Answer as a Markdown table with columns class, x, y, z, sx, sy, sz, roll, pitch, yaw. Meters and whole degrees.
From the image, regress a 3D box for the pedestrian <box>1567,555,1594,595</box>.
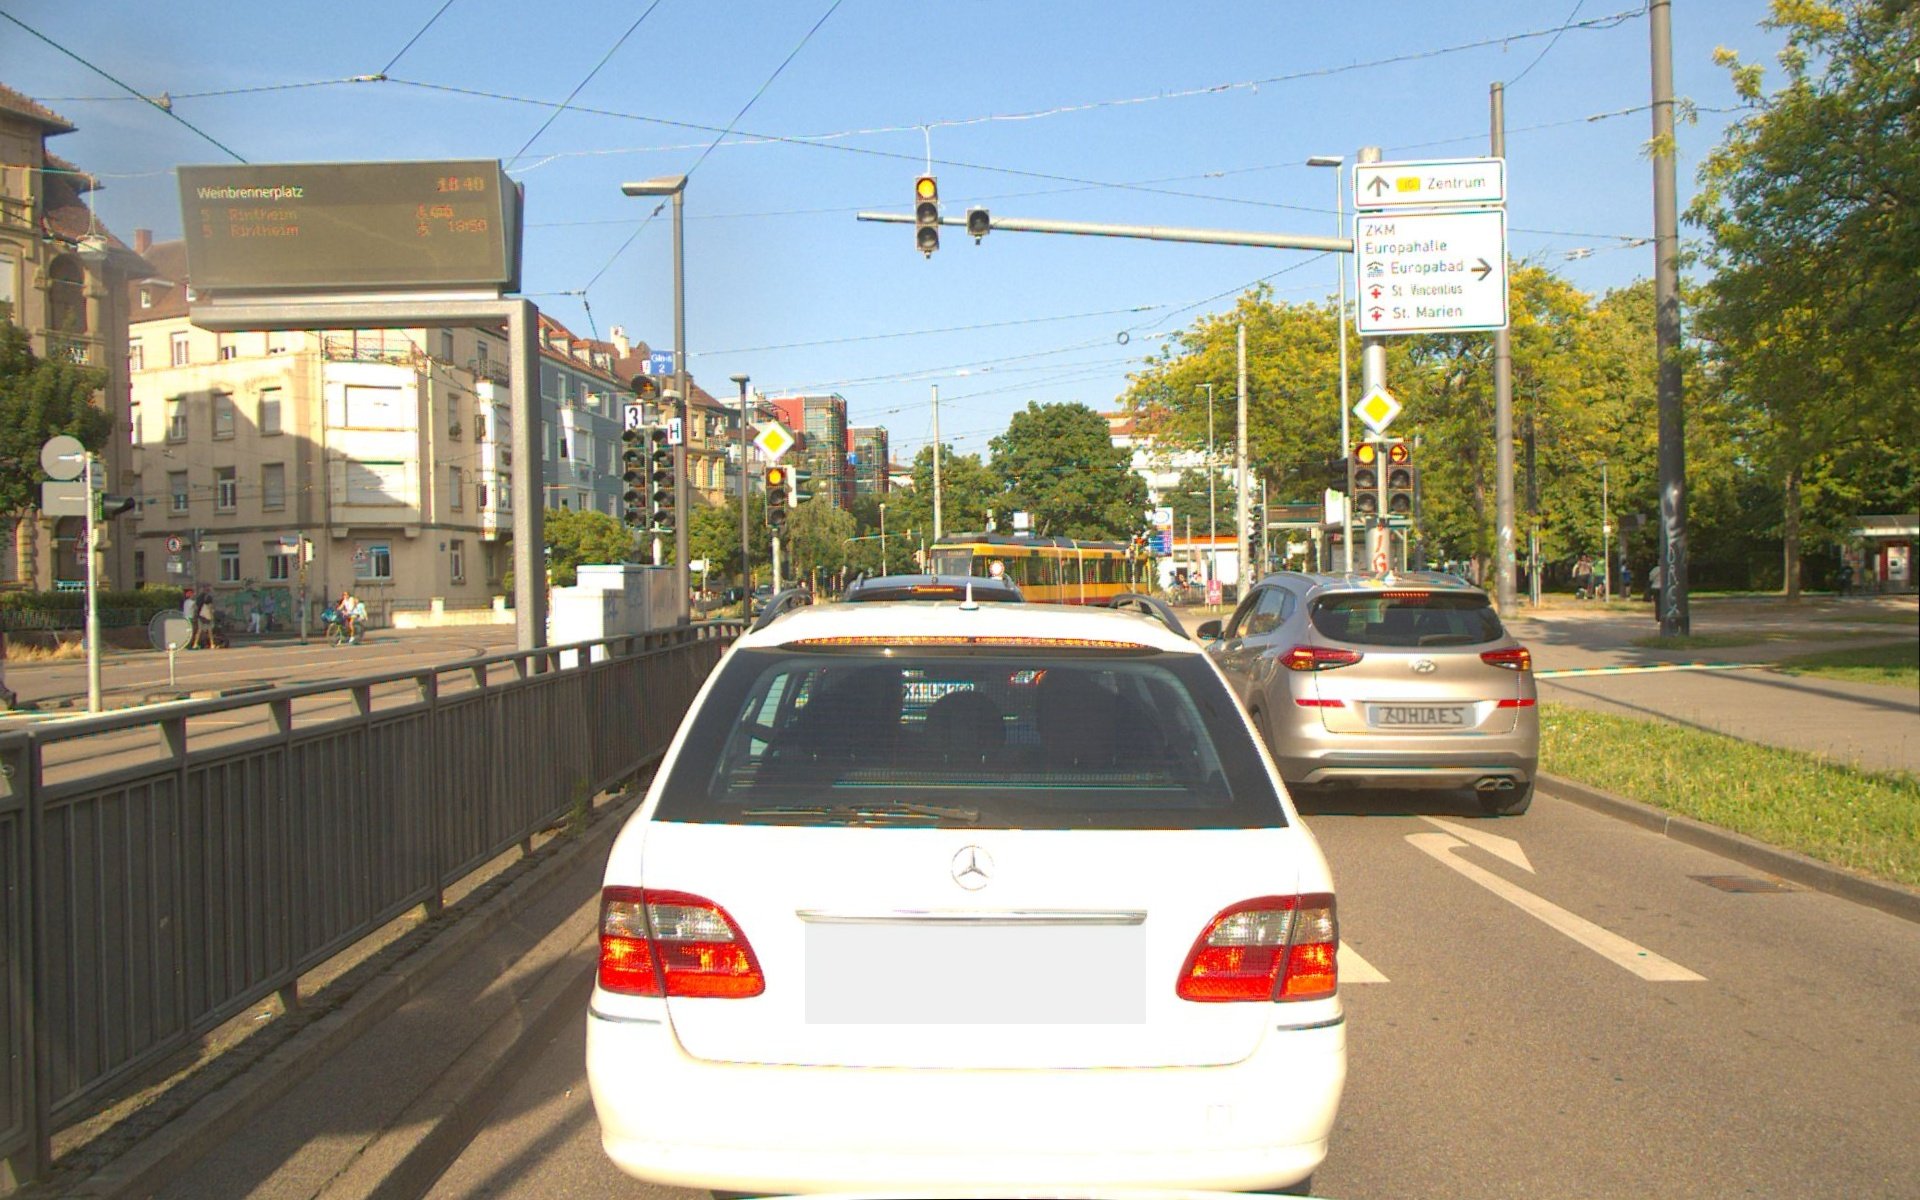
| class | x | y | z | sx | sy | sz | roll | pitch | yaw |
| --- | --- | --- | --- | --- | --- | --- | --- | --- | --- |
| pedestrian | 24.054 | -0.970 | 64.123 | 0.809 | 1.513 | 0.690 | -2 | 0 | -42 |

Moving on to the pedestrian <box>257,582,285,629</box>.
| class | x | y | z | sx | sy | sz | roll | pitch | yaw |
| --- | --- | --- | --- | --- | --- | --- | --- | --- | --- |
| pedestrian | -29.954 | 0.238 | 71.897 | 0.758 | 2.049 | 0.787 | -1 | 0 | 14 |

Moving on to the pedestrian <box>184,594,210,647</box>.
| class | x | y | z | sx | sy | sz | roll | pitch | yaw |
| --- | --- | --- | --- | --- | --- | --- | --- | --- | --- |
| pedestrian | -22.426 | 0.597 | 48.612 | 0.428 | 1.527 | 0.549 | -1 | 0 | 14 |

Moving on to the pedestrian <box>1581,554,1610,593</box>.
| class | x | y | z | sx | sy | sz | roll | pitch | yaw |
| --- | --- | --- | --- | --- | --- | --- | --- | --- | --- |
| pedestrian | 24.862 | -1.036 | 64.743 | 0.799 | 1.513 | 0.699 | -1 | 0 | -12 |

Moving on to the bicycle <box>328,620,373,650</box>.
| class | x | y | z | sx | sy | sz | roll | pitch | yaw |
| --- | --- | --- | --- | --- | --- | --- | --- | --- | --- |
| bicycle | -18.467 | 1.060 | 50.106 | 0.515 | 0.849 | 1.688 | -1 | 0 | 8 |

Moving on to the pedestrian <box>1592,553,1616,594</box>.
| class | x | y | z | sx | sy | sz | roll | pitch | yaw |
| --- | --- | --- | --- | --- | --- | --- | --- | --- | --- |
| pedestrian | 24.602 | -1.016 | 63.228 | 0.797 | 1.513 | 0.700 | -1 | 0 | 24 |

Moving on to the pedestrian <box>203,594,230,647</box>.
| class | x | y | z | sx | sy | sz | roll | pitch | yaw |
| --- | --- | --- | --- | --- | --- | --- | --- | --- | --- |
| pedestrian | -21.921 | 0.594 | 48.780 | 0.428 | 1.527 | 0.549 | -1 | 0 | 14 |

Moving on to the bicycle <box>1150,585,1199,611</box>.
| class | x | y | z | sx | sy | sz | roll | pitch | yaw |
| --- | --- | --- | --- | --- | --- | --- | --- | --- | --- |
| bicycle | 10.907 | -0.097 | 84.266 | 2.430 | 1.234 | 0.807 | -1 | 0 | 7 |

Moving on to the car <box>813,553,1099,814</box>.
| class | x | y | z | sx | sy | sz | roll | pitch | yaw |
| --- | --- | --- | --- | --- | --- | --- | --- | --- | --- |
| car | -0.045 | 0.534 | 12.642 | 1.846 | 1.680 | 3.647 | 1 | 0 | -1 |

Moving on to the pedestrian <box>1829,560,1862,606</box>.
| class | x | y | z | sx | sy | sz | roll | pitch | yaw |
| --- | --- | --- | --- | --- | --- | --- | --- | --- | --- |
| pedestrian | 32.637 | -0.613 | 60.974 | 0.818 | 1.665 | 0.803 | -1 | 0 | 5 |

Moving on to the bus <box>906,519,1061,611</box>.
| class | x | y | z | sx | sy | sz | roll | pitch | yaw |
| --- | --- | --- | --- | --- | --- | --- | --- | --- | --- |
| bus | 1.288 | -1.393 | 72.877 | 3.044 | 3.669 | 12.378 | 1 | 0 | 19 |

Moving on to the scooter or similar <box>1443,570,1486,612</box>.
| class | x | y | z | sx | sy | sz | roll | pitch | yaw |
| --- | --- | --- | --- | --- | --- | --- | --- | --- | --- |
| scooter or similar | 13.970 | -0.237 | 45.800 | 0.413 | 1.136 | 1.322 | -1 | 0 | -20 |

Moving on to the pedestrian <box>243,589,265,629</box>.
| class | x | y | z | sx | sy | sz | roll | pitch | yaw |
| --- | --- | --- | --- | --- | --- | --- | --- | --- | --- |
| pedestrian | -30.322 | 0.383 | 71.030 | 0.606 | 1.689 | 0.586 | -1 | 0 | 14 |

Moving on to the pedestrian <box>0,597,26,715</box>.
| class | x | y | z | sx | sy | sz | roll | pitch | yaw |
| --- | --- | --- | --- | --- | --- | --- | --- | --- | --- |
| pedestrian | -14.005 | 0.805 | 23.808 | 0.788 | 1.674 | 0.745 | -2 | 0 | -45 |

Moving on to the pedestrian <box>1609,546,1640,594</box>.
| class | x | y | z | sx | sy | sz | roll | pitch | yaw |
| --- | --- | --- | --- | --- | --- | --- | --- | --- | --- |
| pedestrian | 25.880 | -1.166 | 64.403 | 0.784 | 1.816 | 0.838 | -1 | 0 | -5 |

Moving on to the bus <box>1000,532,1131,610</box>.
| class | x | y | z | sx | sy | sz | roll | pitch | yaw |
| --- | --- | --- | --- | --- | --- | --- | --- | --- | --- |
| bus | 5.606 | -1.340 | 84.610 | 3.045 | 3.669 | 12.590 | 1 | 0 | 21 |

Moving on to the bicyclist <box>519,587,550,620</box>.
| class | x | y | z | sx | sy | sz | roll | pitch | yaw |
| --- | --- | --- | --- | --- | --- | --- | --- | --- | --- |
| bicyclist | -16.982 | 0.141 | 66.040 | 0.747 | 1.284 | 1.175 | -1 | 0 | 12 |

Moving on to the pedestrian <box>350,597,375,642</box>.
| class | x | y | z | sx | sy | sz | roll | pitch | yaw |
| --- | --- | --- | --- | --- | --- | --- | --- | --- | --- |
| pedestrian | -21.253 | 0.675 | 58.828 | 0.616 | 1.568 | 0.711 | -1 | 0 | -1 |

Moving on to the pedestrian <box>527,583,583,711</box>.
| class | x | y | z | sx | sy | sz | roll | pitch | yaw |
| --- | --- | --- | --- | --- | --- | --- | --- | --- | --- |
| pedestrian | -5.244 | 0.598 | 21.448 | 0.601 | 1.627 | 0.632 | -1 | 0 | -7 |

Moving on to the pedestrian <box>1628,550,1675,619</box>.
| class | x | y | z | sx | sy | sz | roll | pitch | yaw |
| --- | --- | --- | --- | --- | --- | --- | --- | --- | --- |
| pedestrian | 17.060 | -0.379 | 40.795 | 0.748 | 1.665 | 0.797 | -2 | 0 | -40 |

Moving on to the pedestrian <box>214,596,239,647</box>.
| class | x | y | z | sx | sy | sz | roll | pitch | yaw |
| --- | --- | --- | --- | --- | --- | --- | --- | --- | --- |
| pedestrian | -22.182 | 0.647 | 50.010 | 0.523 | 1.527 | 0.389 | -1 | 0 | 14 |

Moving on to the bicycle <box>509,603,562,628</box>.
| class | x | y | z | sx | sy | sz | roll | pitch | yaw |
| --- | --- | --- | --- | --- | --- | --- | --- | --- | --- |
| bicycle | -16.955 | 0.616 | 66.104 | 0.767 | 0.930 | 3.000 | -1 | 1 | 12 |

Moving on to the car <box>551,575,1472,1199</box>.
| class | x | y | z | sx | sy | sz | roll | pitch | yaw |
| --- | --- | --- | --- | --- | --- | --- | --- | --- | --- |
| car | 0.075 | 0.689 | 4.985 | 1.759 | 1.496 | 3.647 | 0 | 0 | -1 |

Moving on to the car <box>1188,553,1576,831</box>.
| class | x | y | z | sx | sy | sz | roll | pitch | yaw |
| --- | --- | --- | --- | --- | --- | --- | --- | --- | --- |
| car | 2.890 | 0.558 | 12.160 | 1.846 | 1.680 | 3.647 | -2 | 0 | -1 |

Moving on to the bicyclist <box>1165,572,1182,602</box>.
| class | x | y | z | sx | sy | sz | roll | pitch | yaw |
| --- | --- | --- | --- | --- | --- | --- | --- | --- | --- |
| bicyclist | 10.866 | -0.678 | 84.274 | 0.842 | 1.507 | 0.790 | -1 | 0 | 7 |

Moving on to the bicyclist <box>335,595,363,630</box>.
| class | x | y | z | sx | sy | sz | roll | pitch | yaw |
| --- | --- | --- | --- | --- | --- | --- | --- | --- | --- |
| bicyclist | -18.486 | 0.375 | 50.071 | 0.502 | 1.062 | 0.680 | -1 | 0 | 8 |

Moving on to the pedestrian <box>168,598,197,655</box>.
| class | x | y | z | sx | sy | sz | roll | pitch | yaw |
| --- | --- | --- | --- | --- | --- | --- | --- | --- | --- |
| pedestrian | -22.910 | 0.782 | 48.738 | 0.497 | 1.654 | 0.608 | -1 | 0 | 0 |
